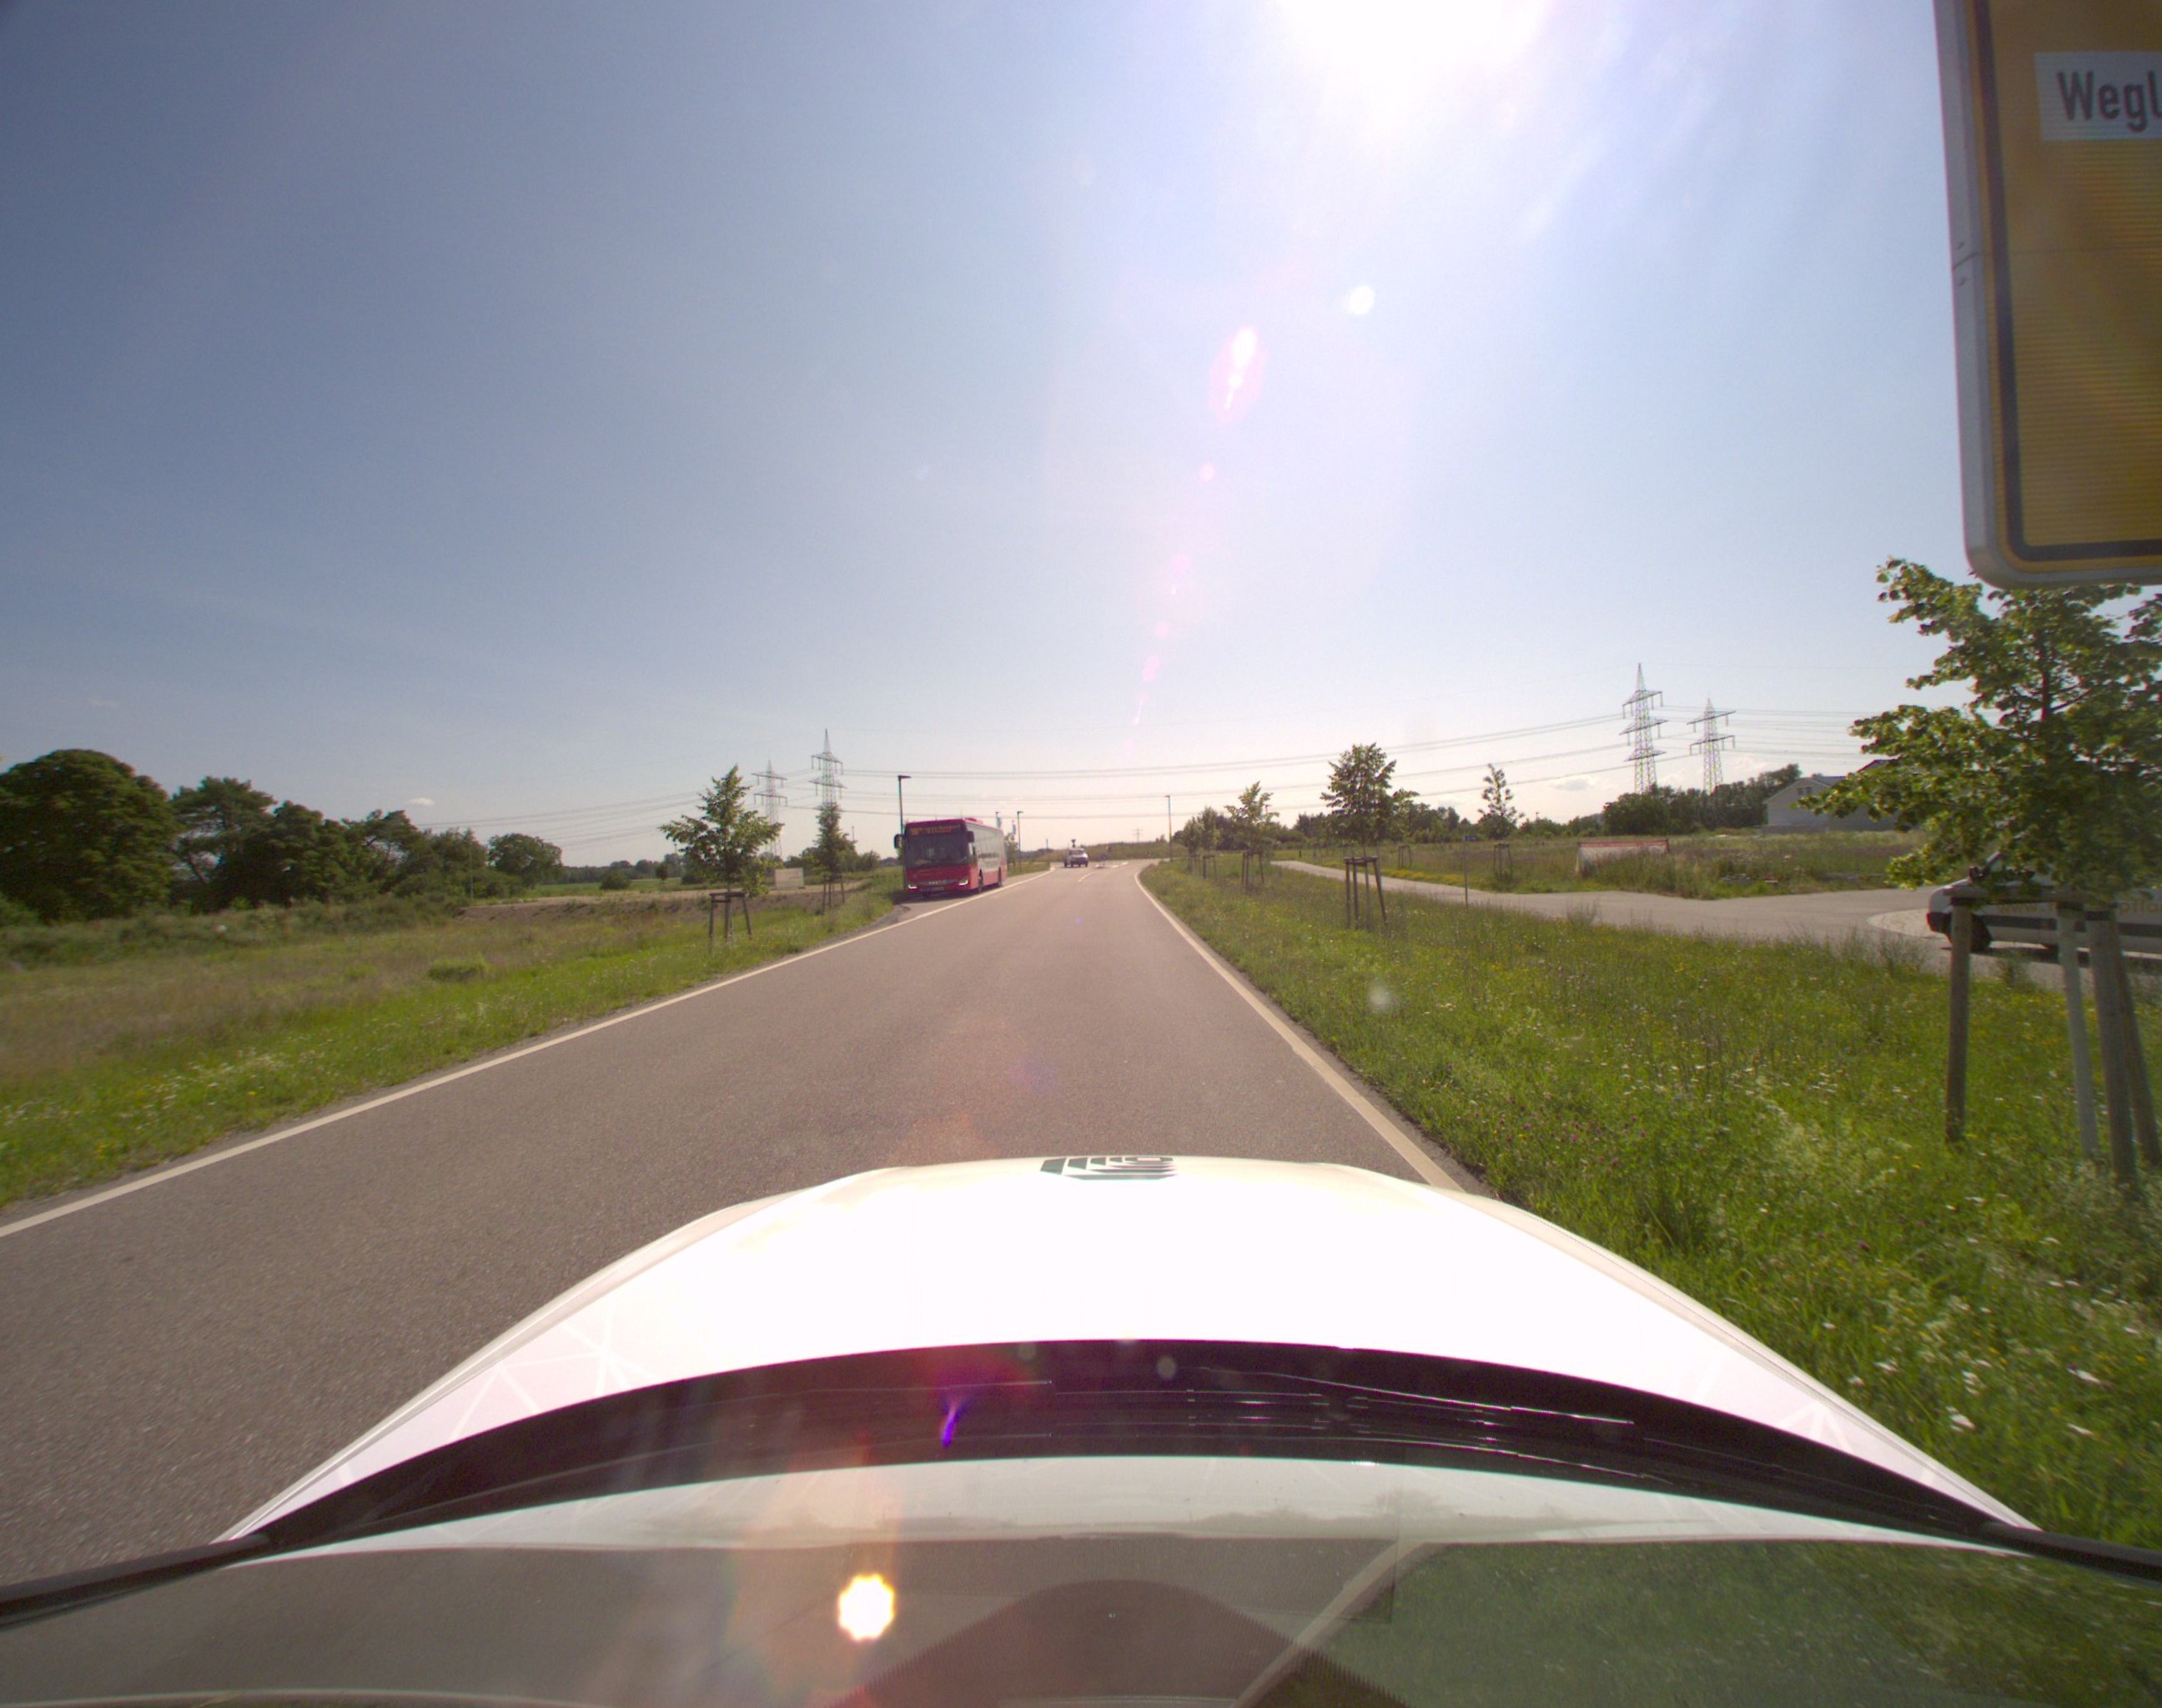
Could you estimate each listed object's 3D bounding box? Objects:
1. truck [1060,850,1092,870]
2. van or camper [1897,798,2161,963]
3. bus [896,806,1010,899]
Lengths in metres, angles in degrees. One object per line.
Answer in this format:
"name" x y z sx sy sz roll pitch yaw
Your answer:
"truck" -0.573 0.627 87.013 1.956 1.985 5.611 -1 0 -17
"van or camper" 18.166 0.398 14.043 2.164 2.601 6.031 -2 -1 1
"bus" -5.307 -0.010 36.564 2.784 3.287 12.230 -4 0 1
